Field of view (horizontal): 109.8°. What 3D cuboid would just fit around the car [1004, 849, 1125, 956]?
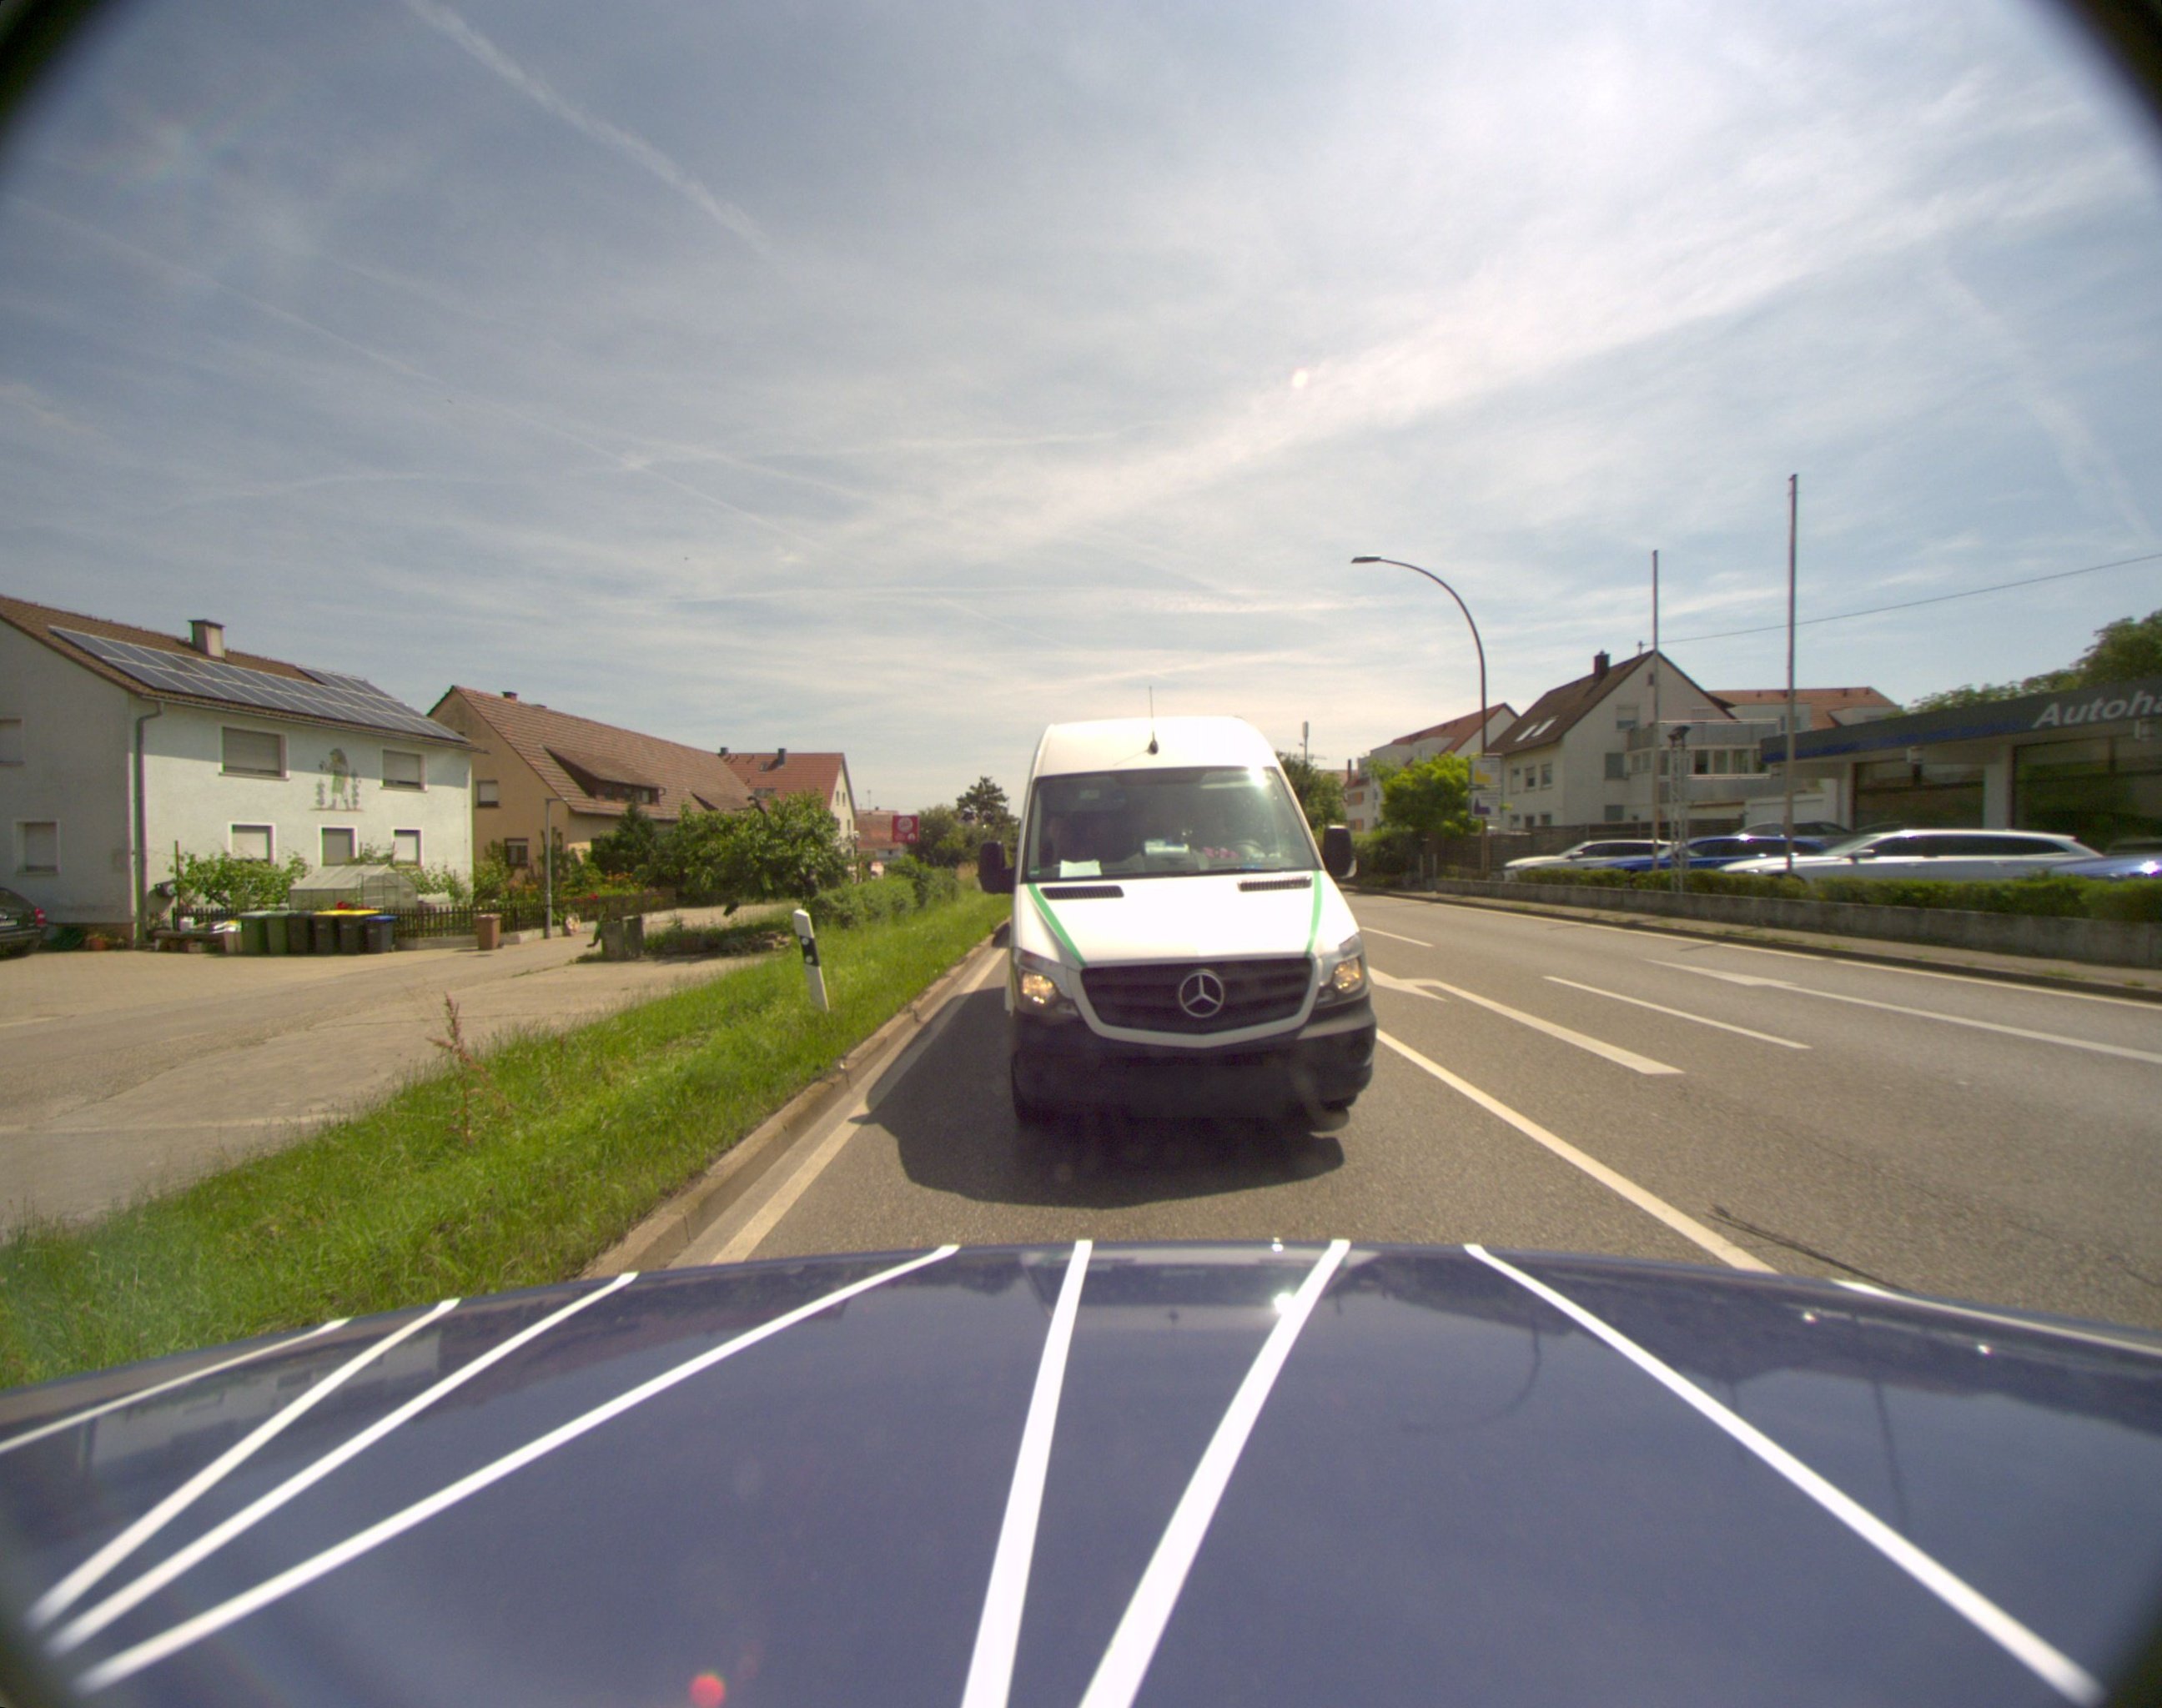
[{"bbox_3d":[-0.283,0.798,14.835,1.884,1.652,4.625,-4,0,0],"label":"car"}]

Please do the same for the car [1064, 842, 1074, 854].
[{"bbox_3d":[-2.717,-1.323,168.141,1.998,2.574,3.999,-2,1,0],"label":"car"}]

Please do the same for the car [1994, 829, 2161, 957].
[{"bbox_3d":[14.463,0.401,8.969,4.331,1.439,1.860,-2,2,26],"label":"car"}]

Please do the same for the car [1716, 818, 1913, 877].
[{"bbox_3d":[20.900,-0.183,21.957,1.807,1.456,4.585,-2,0,10],"label":"car"}]

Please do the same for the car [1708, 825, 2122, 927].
[{"bbox_3d":[14.134,0.411,13.355,4.505,1.439,1.860,-4,0,30],"label":"car"}]

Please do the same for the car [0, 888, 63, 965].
[{"bbox_3d":[-26.807,1.710,17.638,3.957,1.683,1.844,0,2,3],"label":"car"}]

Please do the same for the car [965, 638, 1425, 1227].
[{"bbox_3d":[0.498,0.335,6.182,1.939,2.514,5.748,-2,0,0],"label":"car"}]

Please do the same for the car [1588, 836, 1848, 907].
[{"bbox_3d":[14.438,0.410,17.596,4.331,1.439,1.860,-2,2,29],"label":"car"}]

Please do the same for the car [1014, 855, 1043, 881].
[{"bbox_3d":[-3.443,0.896,50.563,1.636,1.476,3.551,-4,1,-1],"label":"car"}]

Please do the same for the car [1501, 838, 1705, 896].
[{"bbox_3d":[14.560,0.381,21.555,4.568,1.439,1.860,-2,2,29],"label":"car"}]
